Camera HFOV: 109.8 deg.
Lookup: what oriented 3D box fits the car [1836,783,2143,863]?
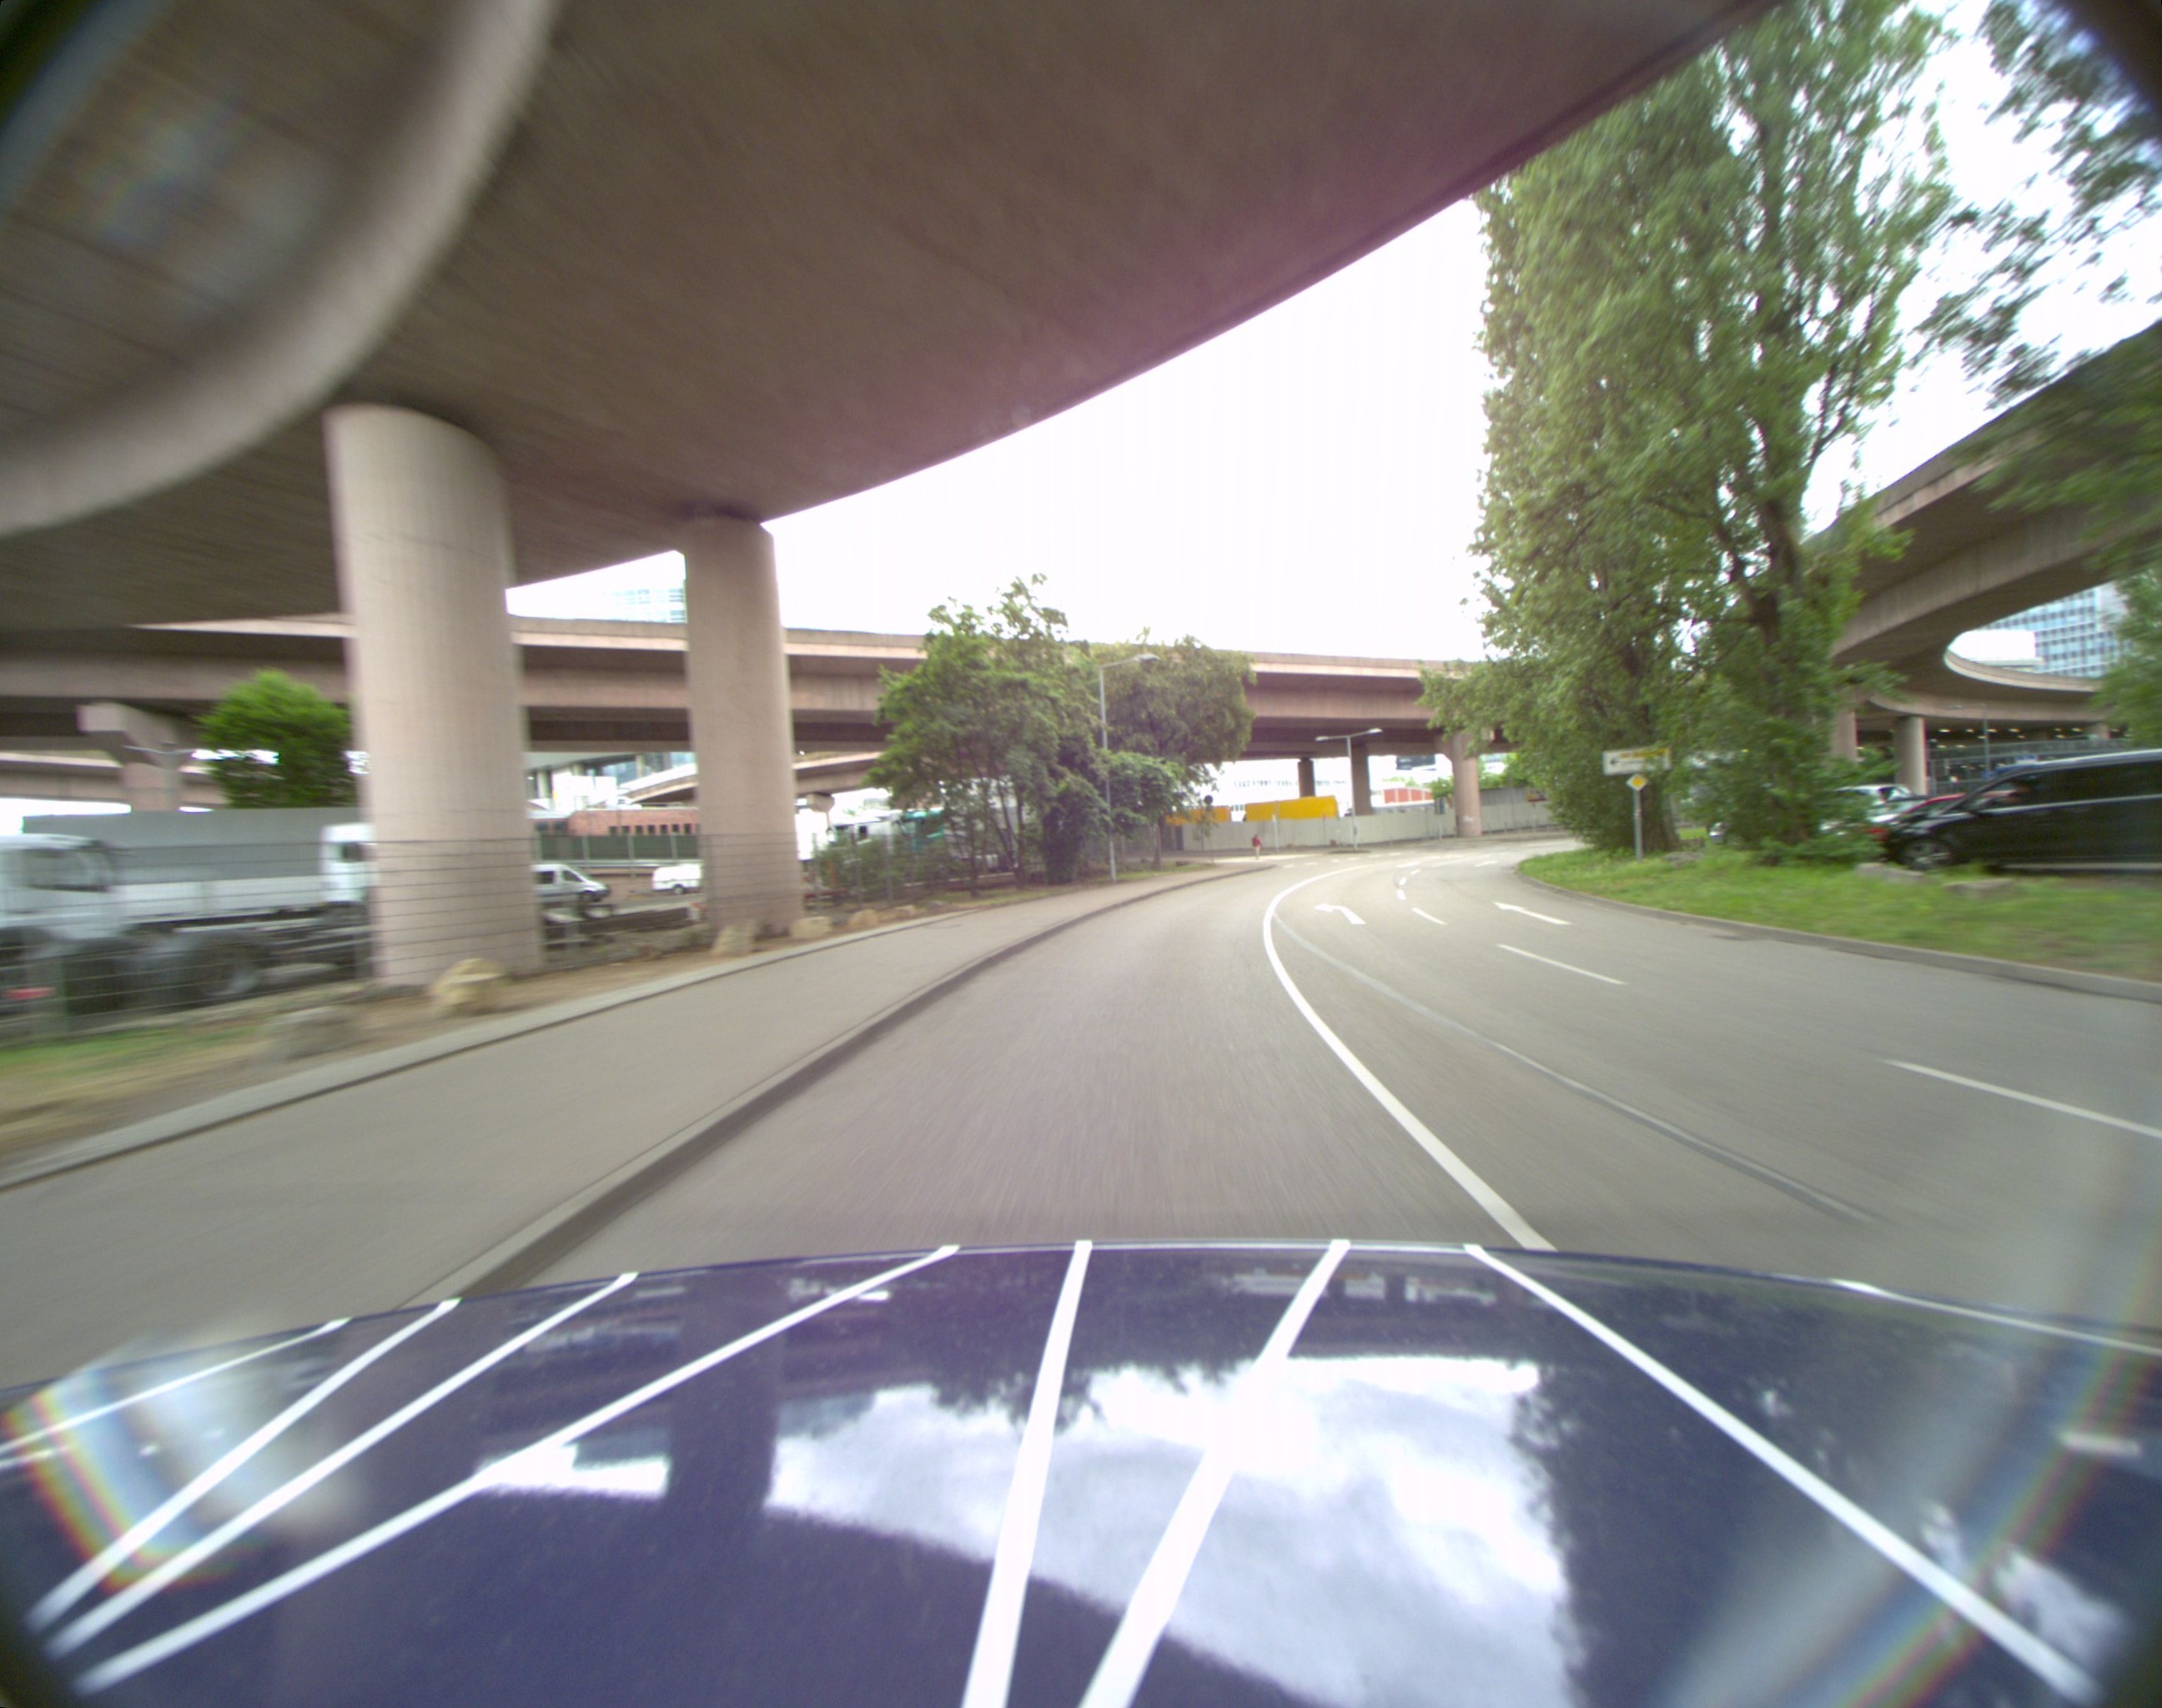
[{"bbox_3d":[18.221,-0.581,15.492,1.566,1.372,3.699,-4,2,-18],"label":"car"}]

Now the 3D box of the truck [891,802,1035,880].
[{"bbox_3d":[-5.590,-0.694,36.803,6.423,3.389,2.265,-4,2,-37],"label":"truck"}]

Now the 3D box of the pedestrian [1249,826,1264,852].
[{"bbox_3d":[11.663,-1.025,50.454,0.752,1.671,0.856,-2,2,27],"label":"pedestrian"}]

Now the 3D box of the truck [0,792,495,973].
[{"bbox_3d":[-24.033,0.535,22.488,10.153,4.340,3.904,-4,1,-41],"label":"truck"}]

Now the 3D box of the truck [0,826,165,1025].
[{"bbox_3d":[-16.998,1.132,9.773,2.456,2.869,6.121,-4,1,8],"label":"truck"}]

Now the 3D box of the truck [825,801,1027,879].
[{"bbox_3d":[-7.692,-0.855,39.275,10.233,3.479,2.264,-4,2,-40],"label":"truck"}]

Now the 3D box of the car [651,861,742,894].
[{"bbox_3d":[-24.231,1.441,48.148,4.878,1.696,2.091,-4,0,-22],"label":"car"}]

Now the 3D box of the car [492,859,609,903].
[{"bbox_3d":[-31.453,1.561,45.266,5.168,2.198,2.333,-4,0,-22],"label":"car"}]

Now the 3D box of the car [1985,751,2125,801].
[{"bbox_3d":[41.961,-3.348,32.799,3.538,1.789,1.643,-3,2,9],"label":"car"}]

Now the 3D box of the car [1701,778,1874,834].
[{"bbox_3d":[27.529,-1.851,29.862,1.857,2.003,4.714,-2,3,-14],"label":"car"}]

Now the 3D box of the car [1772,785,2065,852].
[{"bbox_3d":[20.053,-0.787,18.523,1.697,1.356,4.509,-4,2,-16],"label":"car"}]

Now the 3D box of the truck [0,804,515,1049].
[{"bbox_3d":[-13.110,0.830,12.071,2.422,2.728,7.236,-4,1,2],"label":"truck"}]

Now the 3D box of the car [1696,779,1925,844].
[{"bbox_3d":[21.494,-1.182,22.689,1.697,1.665,4.669,-4,2,-18],"label":"car"}]

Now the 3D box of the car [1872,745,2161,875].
[{"bbox_3d":[16.531,-0.711,12.205,1.858,1.906,4.965,-4,2,-18],"label":"car"}]

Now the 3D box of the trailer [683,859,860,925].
[{"bbox_3d":[-7.962,0.917,20.043,1.602,1.324,4.388,-2,2,24],"label":"trailer"}]
